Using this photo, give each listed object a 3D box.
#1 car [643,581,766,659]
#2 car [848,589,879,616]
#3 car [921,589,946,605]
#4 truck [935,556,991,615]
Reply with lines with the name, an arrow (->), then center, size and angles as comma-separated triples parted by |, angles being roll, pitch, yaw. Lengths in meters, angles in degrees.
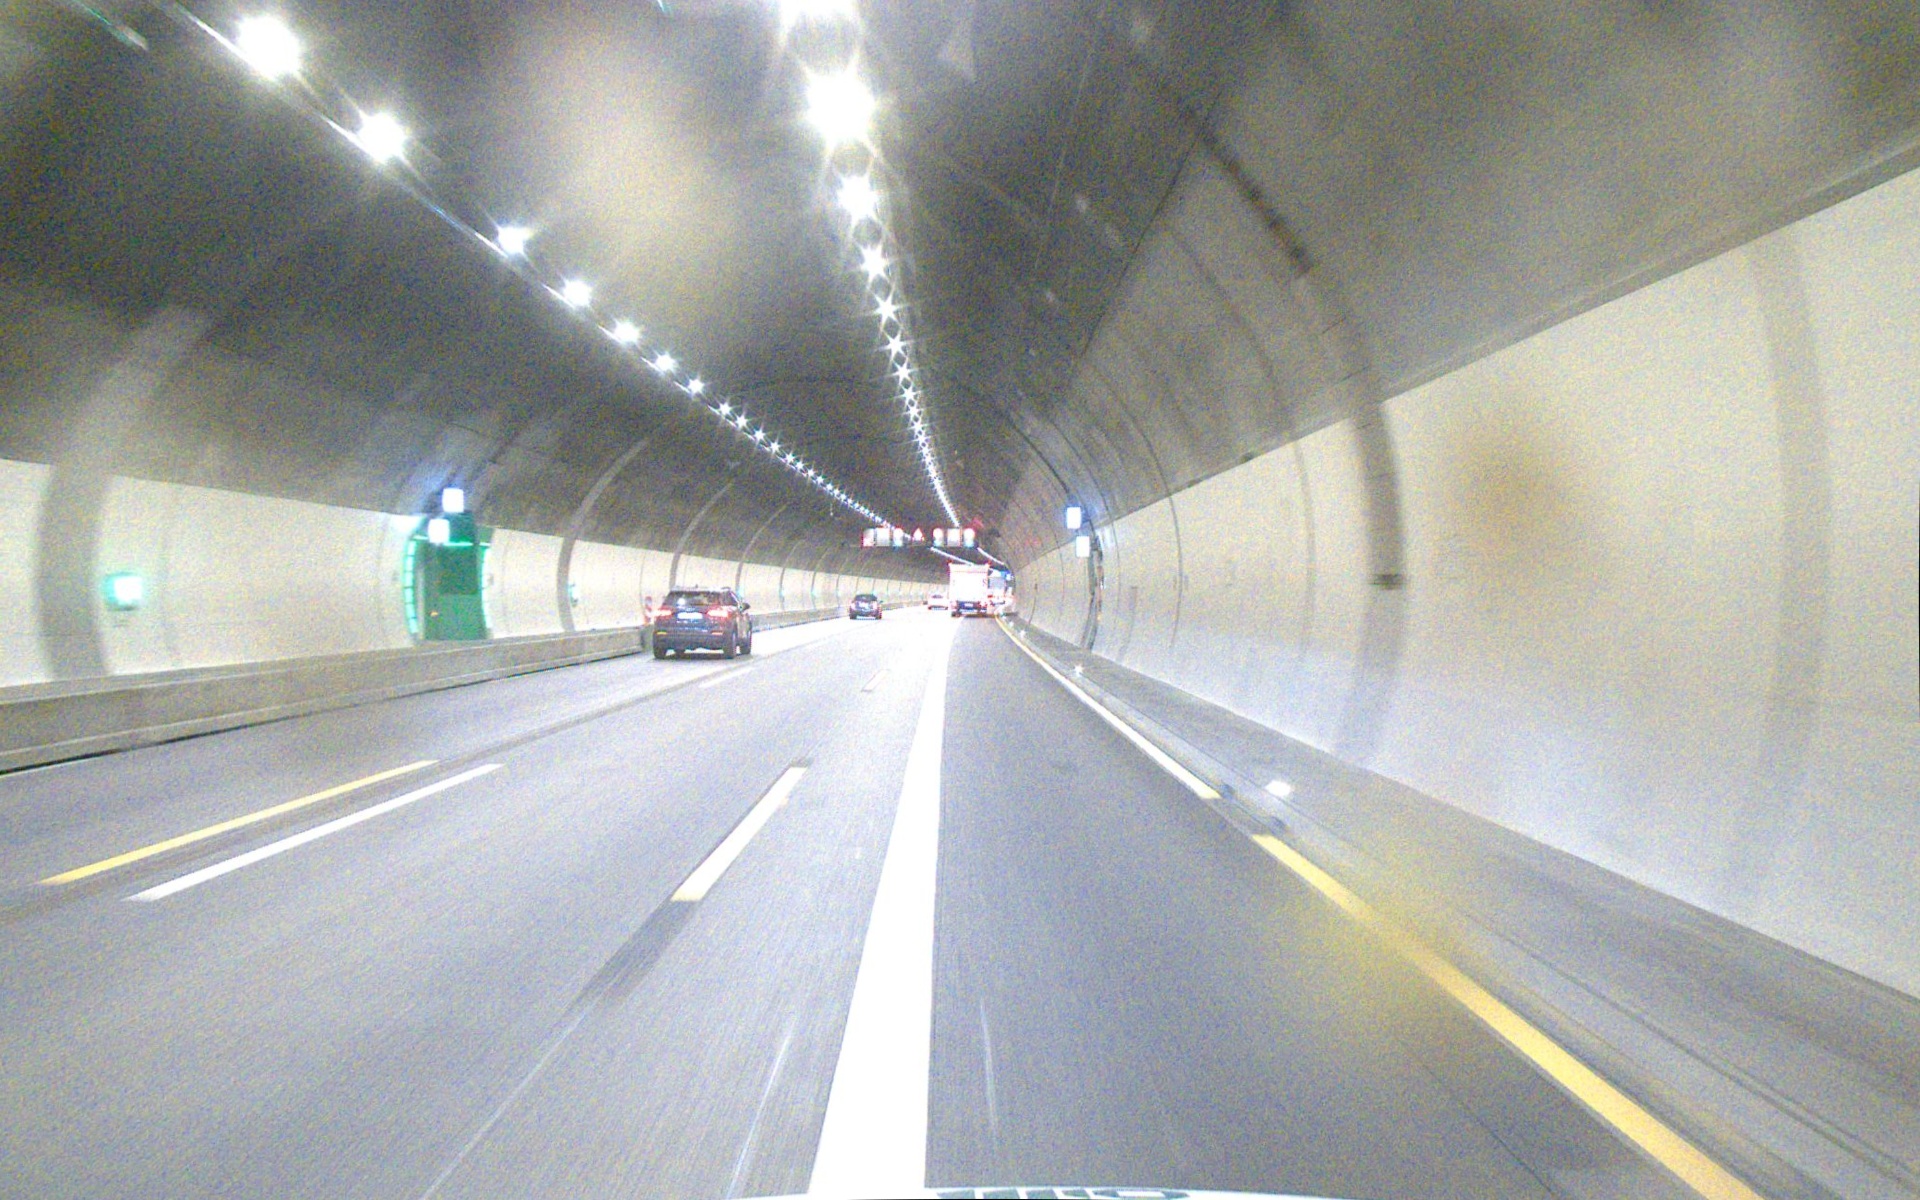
car -> -5.765, 0.442, 37.885 | 1.953, 1.567, 4.742 | 3, 0, 0
car -> -5.490, 0.131, 94.201 | 1.655, 1.442, 3.921 | 3, 0, -3
car -> -2.465, -0.269, 154.065 | 1.952, 1.437, 4.744 | 3, 0, 2
truck -> 0.111, -0.962, 113.292 | 3.520, 3.714, 10.720 | 3, 0, -1
